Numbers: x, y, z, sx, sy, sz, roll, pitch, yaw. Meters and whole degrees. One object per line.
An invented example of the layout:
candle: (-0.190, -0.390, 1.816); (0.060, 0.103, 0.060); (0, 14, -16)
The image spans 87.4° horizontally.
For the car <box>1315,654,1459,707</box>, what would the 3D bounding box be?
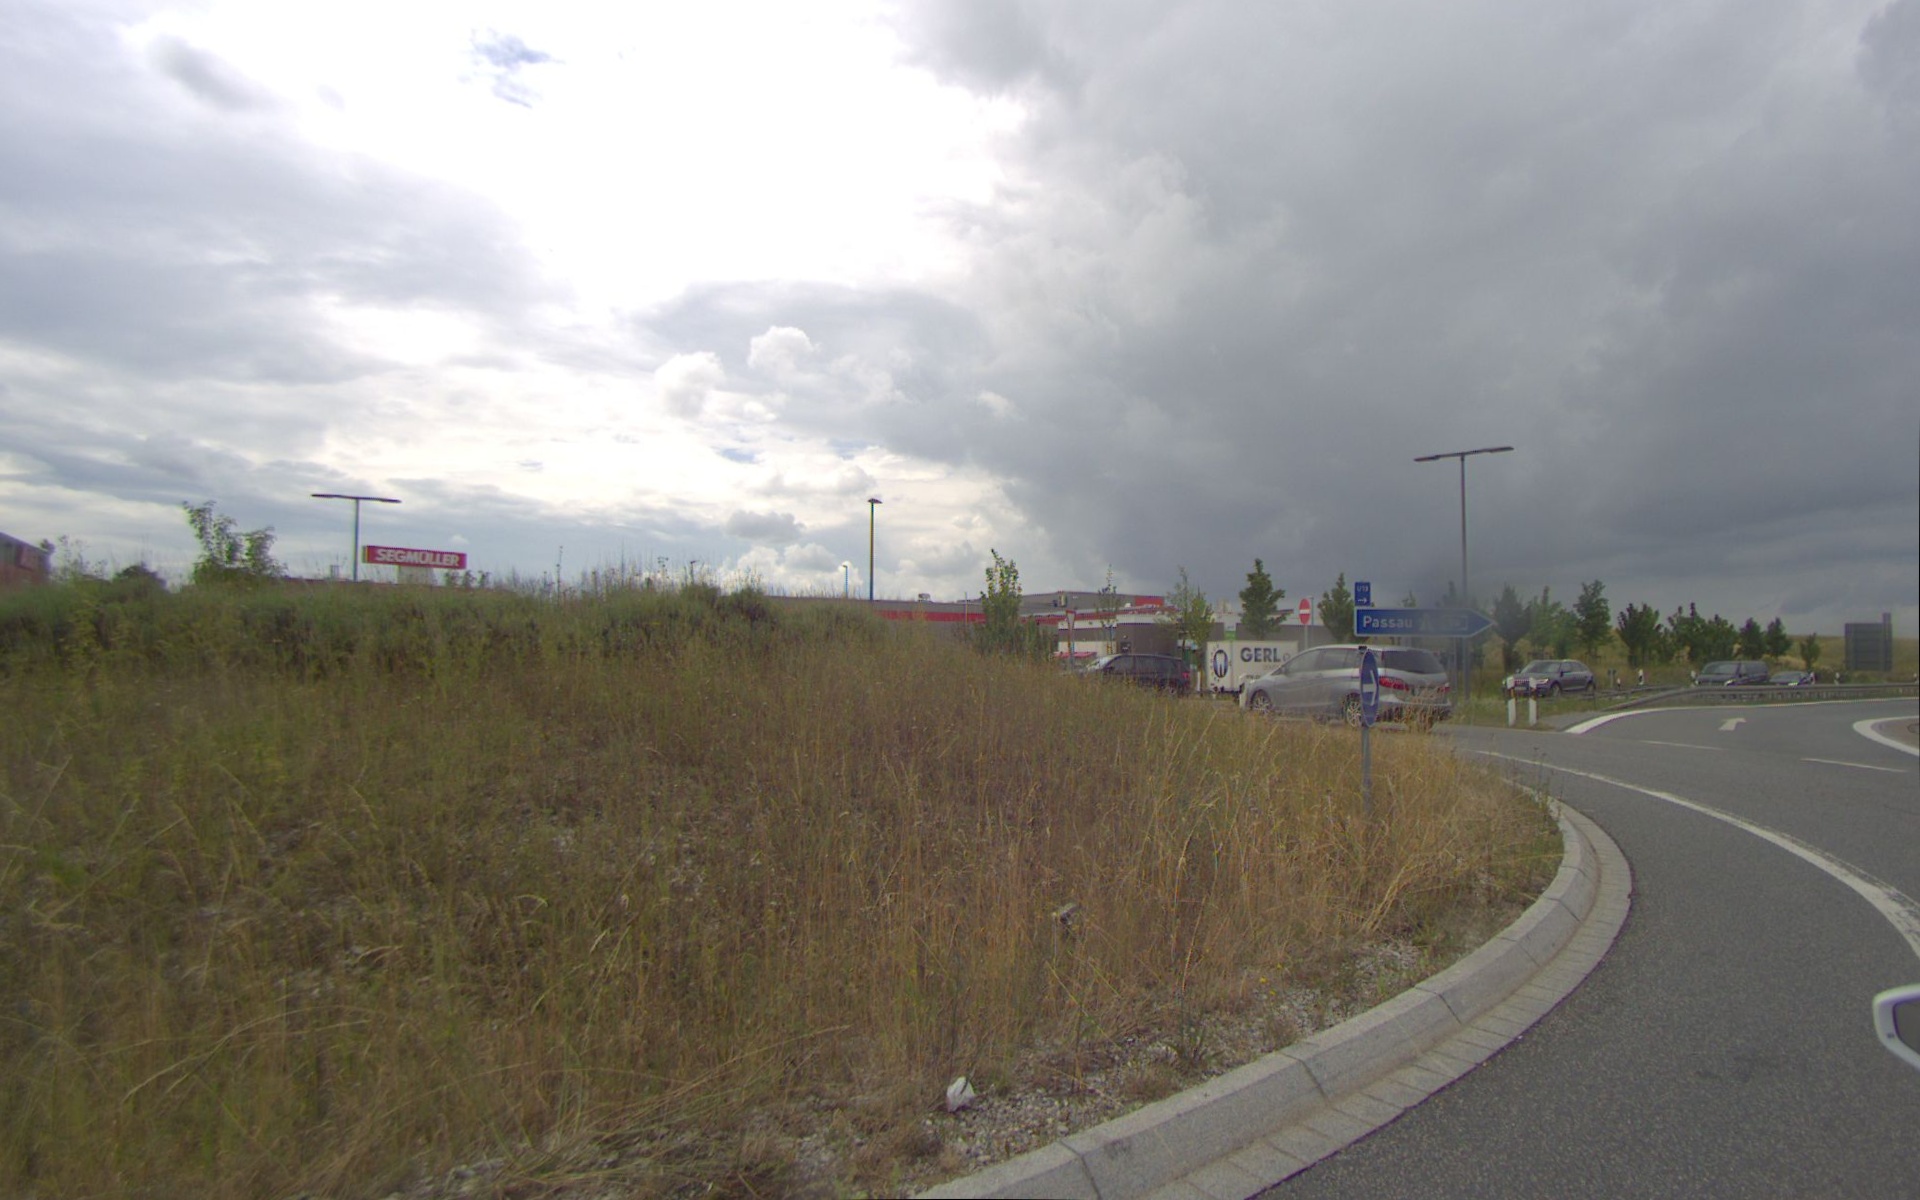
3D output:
car: (14.842, 2.820, 34.943); (4.525, 1.705, 1.991); (3, -5, -22)

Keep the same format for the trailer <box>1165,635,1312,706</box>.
trailer: (9.294, 2.339, 33.562); (4.300, 2.213, 1.994); (3, -2, -16)

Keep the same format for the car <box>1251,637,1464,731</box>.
car: (7.673, 1.567, 19.818); (1.717, 1.619, 3.979); (1, -2, -20)

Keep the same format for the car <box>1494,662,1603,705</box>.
car: (22.729, 3.232, 38.776); (4.492, 1.511, 1.721); (3, -3, -31)

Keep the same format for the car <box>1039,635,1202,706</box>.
car: (5.087, 2.242, 32.019); (4.606, 1.783, 1.993); (5, 1, -15)

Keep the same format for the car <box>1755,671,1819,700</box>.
car: (52.161, 5.414, 63.359); (4.548, 1.705, 1.981); (4, -6, -36)

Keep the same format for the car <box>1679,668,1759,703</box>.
car: (38.858, 4.390, 51.422); (4.548, 1.705, 1.981); (4, -6, -36)
